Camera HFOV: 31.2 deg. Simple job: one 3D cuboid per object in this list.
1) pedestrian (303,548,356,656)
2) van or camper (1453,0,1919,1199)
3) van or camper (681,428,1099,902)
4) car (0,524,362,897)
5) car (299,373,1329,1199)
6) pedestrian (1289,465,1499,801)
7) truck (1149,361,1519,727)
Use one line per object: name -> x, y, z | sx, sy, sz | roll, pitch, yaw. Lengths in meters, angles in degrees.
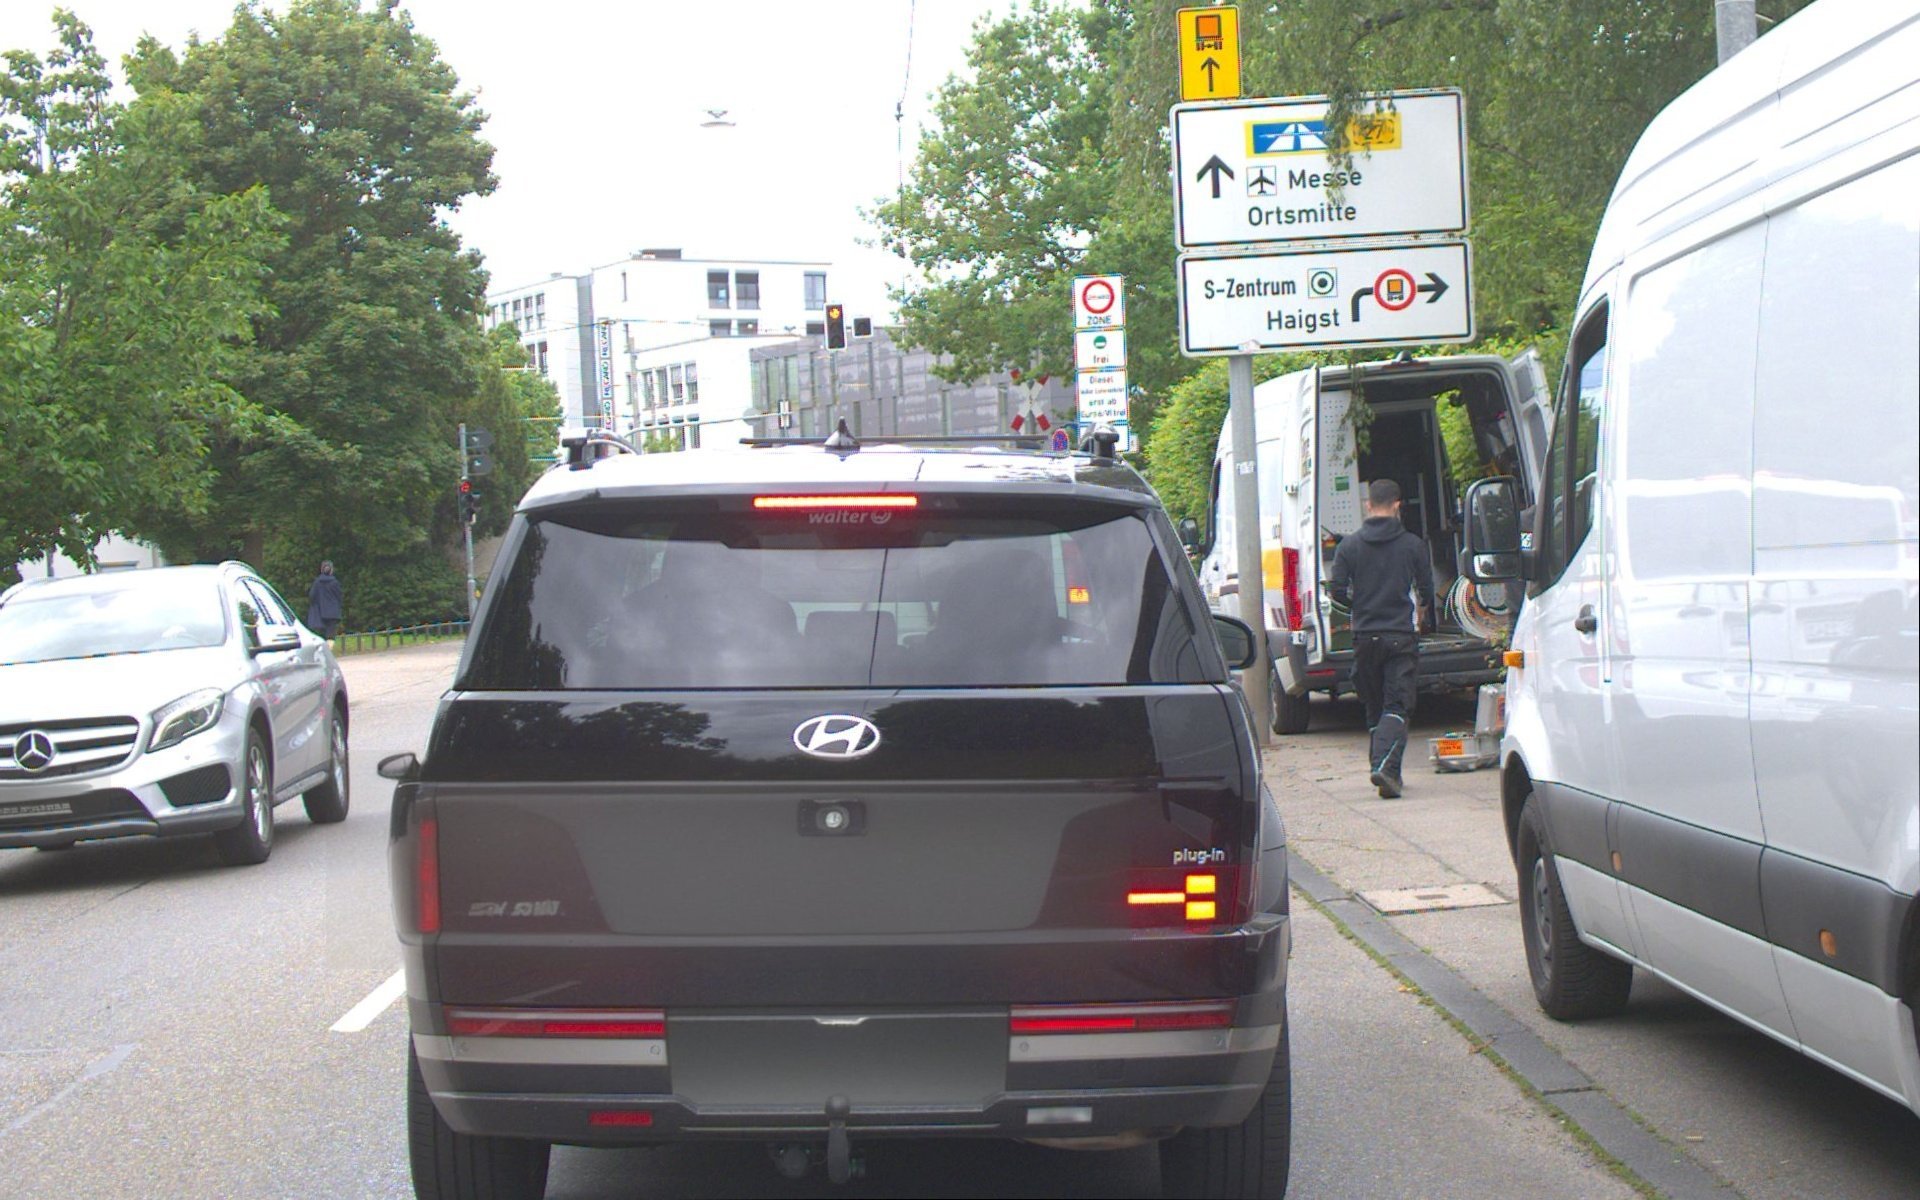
pedestrian -> -10.147, 0.025, 55.351 | 0.738, 1.709, 0.793 | -2, 1, -7
van or camper -> 2.626, -0.055, 7.582 | 1.993, 2.611, 6.541 | -2, 1, -1
van or camper -> -0.324, 0.250, 16.938 | 1.754, 2.007, 4.000 | -2, 1, -1
car -> -4.362, 0.503, 17.962 | 1.785, 1.648, 4.121 | -4, 1, -2
car -> -0.288, 0.459, 8.334 | 1.889, 1.813, 4.000 | 0, 1, -1
pedestrian -> 2.390, 0.169, 18.904 | 0.759, 1.791, 0.871 | -1, 1, 38
truck -> 2.866, -0.430, 27.632 | 1.942, 2.553, 5.217 | -3, 1, -4
